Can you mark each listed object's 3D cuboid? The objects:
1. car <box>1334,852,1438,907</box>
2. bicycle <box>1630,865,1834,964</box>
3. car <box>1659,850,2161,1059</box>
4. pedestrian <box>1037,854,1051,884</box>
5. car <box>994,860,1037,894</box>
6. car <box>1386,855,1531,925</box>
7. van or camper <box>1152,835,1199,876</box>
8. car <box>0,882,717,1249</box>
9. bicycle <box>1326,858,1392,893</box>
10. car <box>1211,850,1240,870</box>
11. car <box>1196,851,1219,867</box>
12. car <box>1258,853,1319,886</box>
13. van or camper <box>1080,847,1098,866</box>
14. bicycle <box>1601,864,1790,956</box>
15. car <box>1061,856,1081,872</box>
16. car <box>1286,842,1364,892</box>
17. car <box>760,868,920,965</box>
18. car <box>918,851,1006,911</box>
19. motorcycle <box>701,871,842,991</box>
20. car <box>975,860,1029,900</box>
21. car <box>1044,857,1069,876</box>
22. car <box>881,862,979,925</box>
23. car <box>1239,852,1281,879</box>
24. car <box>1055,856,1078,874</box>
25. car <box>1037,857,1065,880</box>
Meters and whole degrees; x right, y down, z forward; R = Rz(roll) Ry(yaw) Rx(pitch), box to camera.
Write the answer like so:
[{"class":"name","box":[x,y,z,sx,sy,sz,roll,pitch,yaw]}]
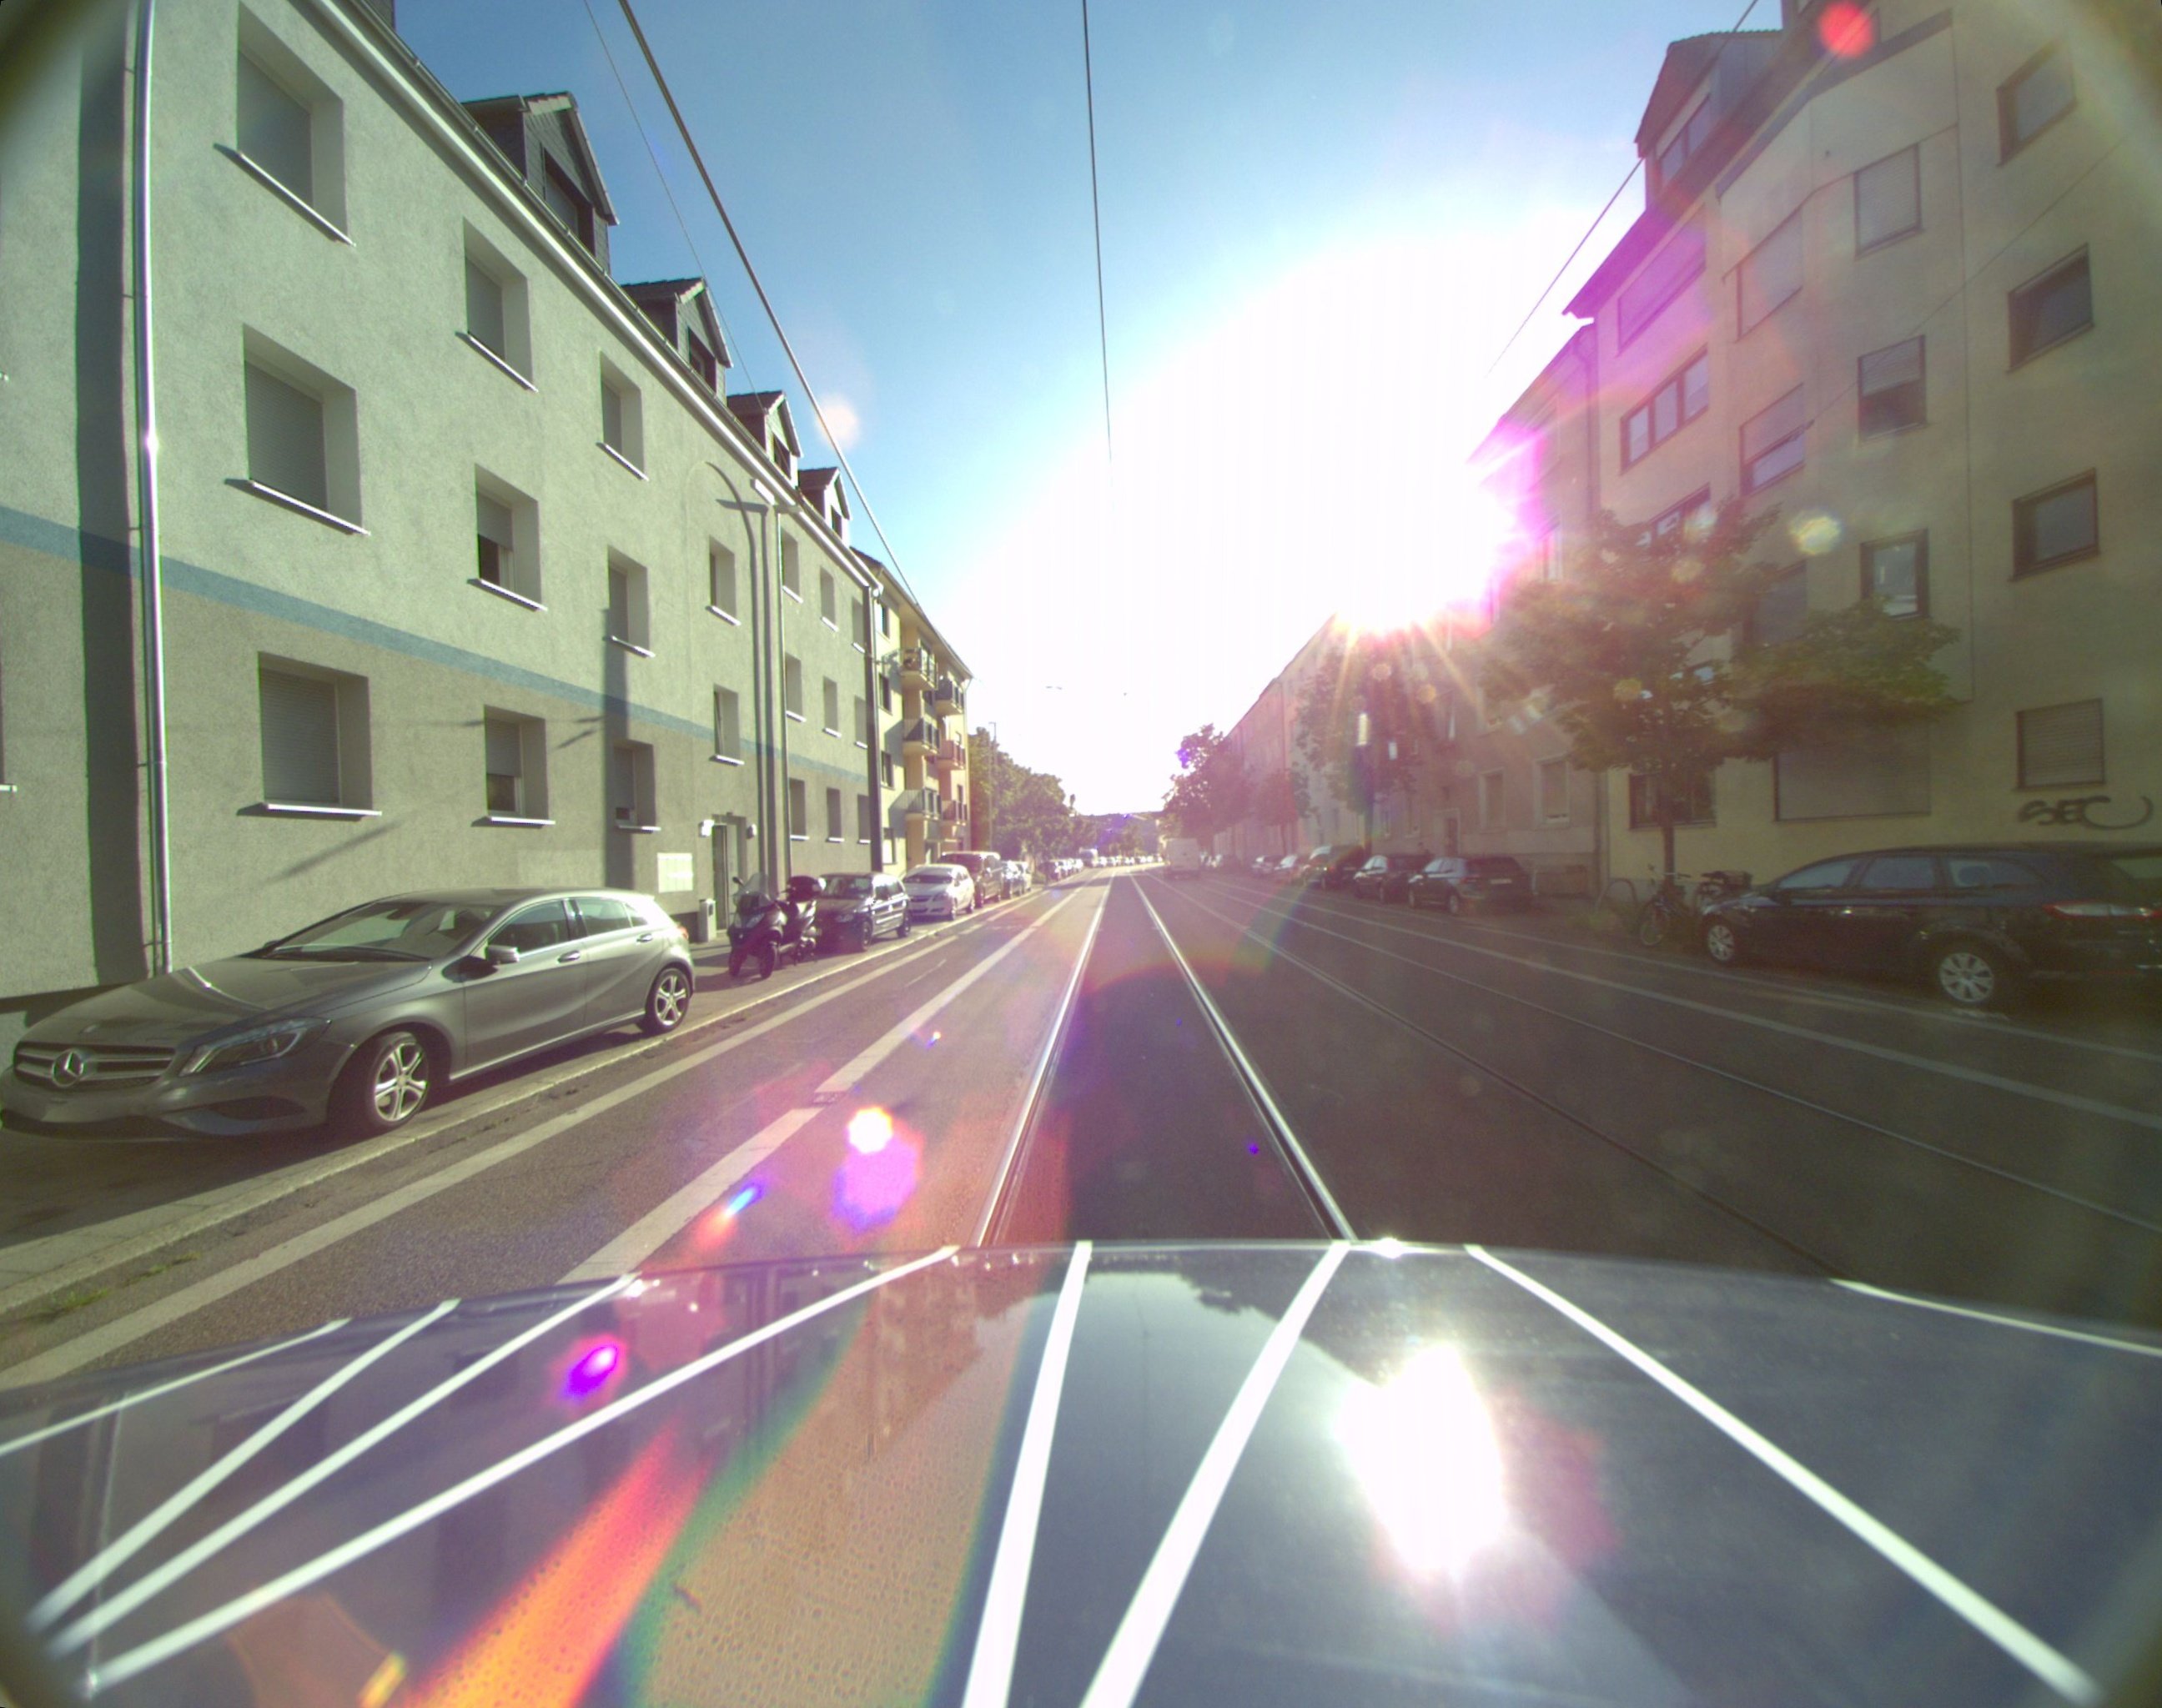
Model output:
[{"class":"car","box":[9.623,0.745,24.354,1.769,1.464,4.182,-4,0,3]},{"class":"bicycle","box":[9.491,0.864,11.135,2.298,1.326,0.699,-2,1,3]},{"class":"car","box":[8.759,0.757,8.083,1.769,1.533,4.734,-2,0,3]},{"class":"pedestrian","box":[-2.277,0.927,47.055,0.801,1.800,0.946,0,1,3]},{"class":"car","box":[-3.147,1.059,36.967,1.556,1.533,3.633,0,0,3]},{"class":"car","box":[9.504,0.835,19.531,1.769,1.464,4.042,-4,0,2]},{"class":"van or camper","box":[6.231,0.093,51.079,2.375,2.538,6.834,-2,0,1]},{"class":"car","box":[-4.928,1.073,5.804,1.867,1.546,4.368,0,0,5]},{"class":"bicycle","box":[10.280,0.797,28.130,2.116,1.099,0.746,-5,0,1]},{"class":"car","box":[12.296,0.511,64.858,1.688,1.614,4.048,-2,0,0]},{"class":"car","box":[13.054,0.473,78.511,1.688,1.542,4.048,-2,0,0]},{"class":"car","box":[10.122,0.728,37.429,1.769,1.464,4.859,-2,0,2]},{"class":"van or camper","box":[1.155,0.280,106.230,2.090,2.548,5.695,-2,1,5]},{"class":"bicycle","box":[9.534,0.857,11.852,2.298,1.326,0.699,-2,1,3]},{"class":"car","box":[-0.973,0.949,75.665,1.828,1.562,4.479,0,0,2]},{"class":"car","box":[10.145,0.494,31.935,1.769,1.835,4.423,-4,0,1]},{"class":"car","box":[-4.523,1.104,14.896,1.612,1.562,3.905,0,0,5]},{"class":"car","box":[-4.018,0.850,26.590,1.933,1.910,5.005,0,0,4]},{"class":"motorcycle","box":[-4.520,1.049,11.405,0.807,1.513,2.709,-1,0,4]},{"class":"car","box":[-3.283,1.054,32.320,1.612,1.562,4.219,0,0,3]},{"class":"car","box":[-2.073,1.017,65.314,1.828,1.562,4.479,0,0,2]},{"class":"car","box":[-4.119,1.034,21.327,1.804,1.562,3.904,0,0,2]},{"class":"car","box":[10.794,0.638,46.130,1.769,1.464,4.754,-2,0,5]},{"class":"car","box":[-1.318,0.992,70.558,1.828,1.562,4.479,0,0,2]},{"class":"car","box":[-2.144,1.019,55.383,1.612,1.562,4.479,0,0,3]}]
